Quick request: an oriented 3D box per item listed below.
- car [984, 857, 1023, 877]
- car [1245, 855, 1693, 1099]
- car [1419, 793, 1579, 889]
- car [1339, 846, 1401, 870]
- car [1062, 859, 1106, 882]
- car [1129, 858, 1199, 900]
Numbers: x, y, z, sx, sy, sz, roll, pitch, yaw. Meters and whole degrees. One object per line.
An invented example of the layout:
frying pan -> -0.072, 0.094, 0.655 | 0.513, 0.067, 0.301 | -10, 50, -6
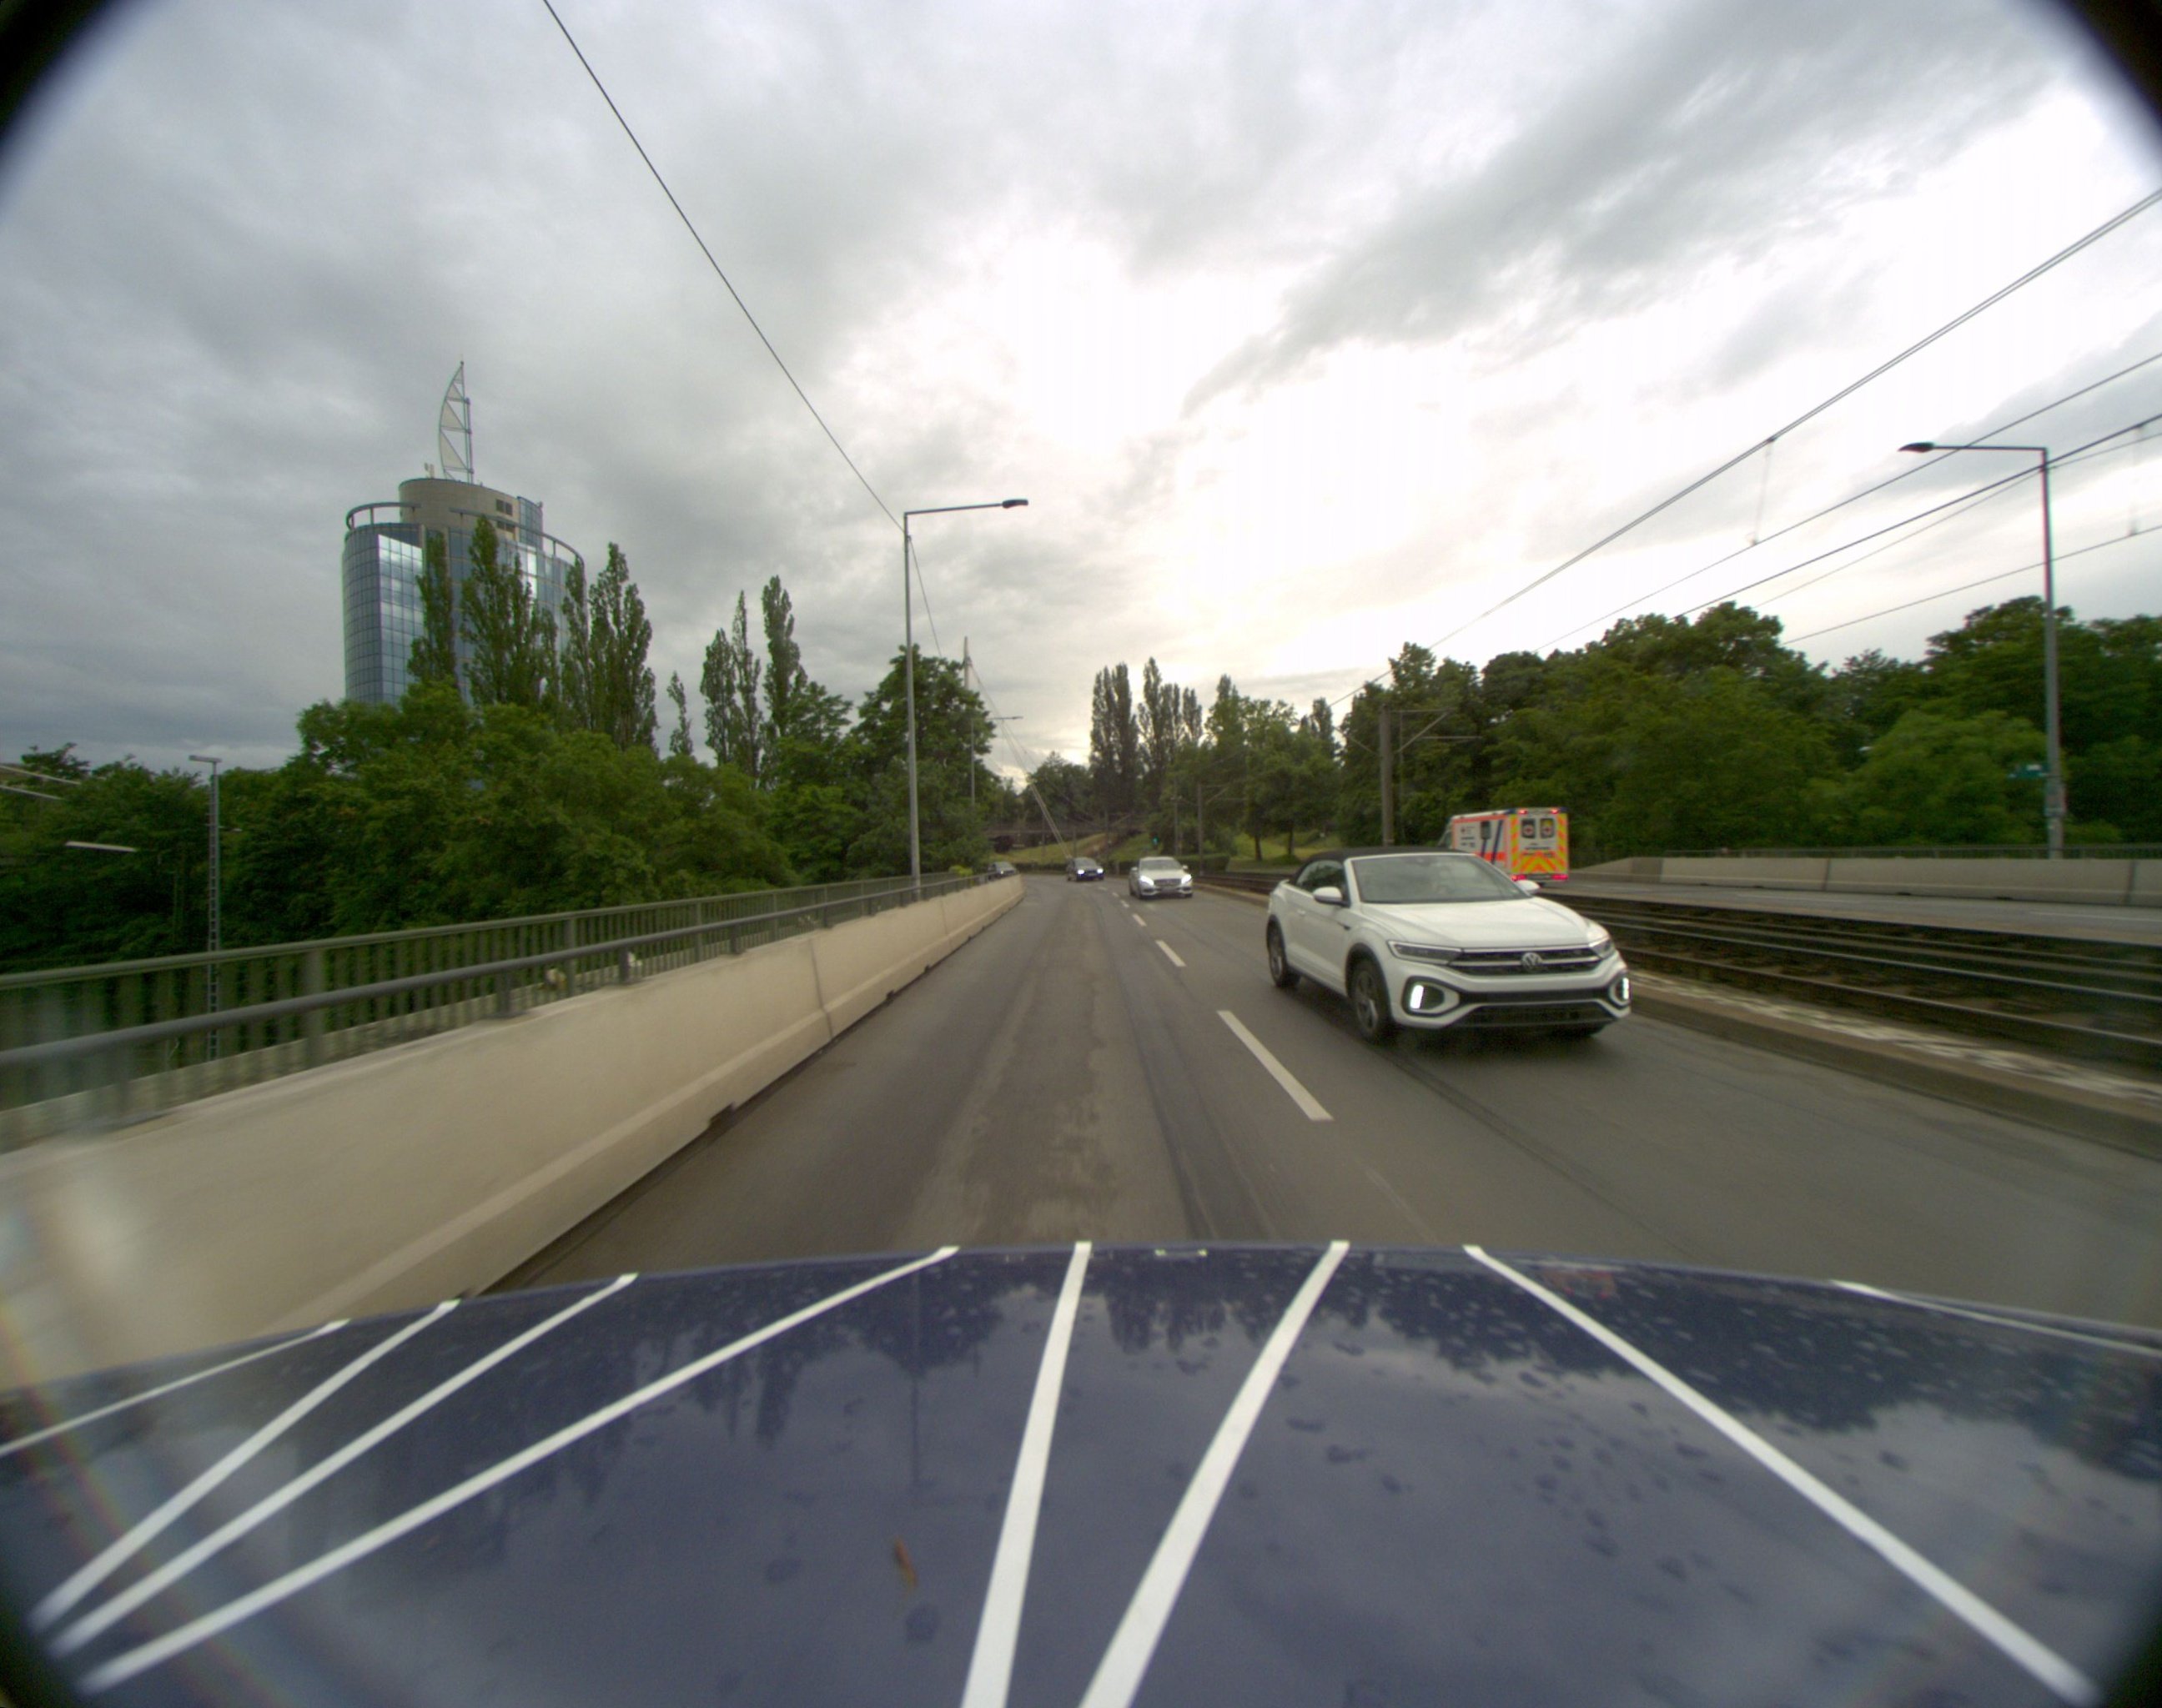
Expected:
car -> -6.212, 1.042, 60.616 | 1.771, 1.492, 3.992 | -2, 0, -26
car -> 3.031, 0.809, 7.231 | 1.876, 1.515, 4.539 | -2, 0, 0
car -> 15.238, -0.444, 28.296 | 2.395, 3.097, 6.356 | -2, 0, 0
car -> 18.063, 0.259, 47.721 | 1.842, 1.306, 4.618 | -4, -1, -4
car -> 0.159, 0.990, 48.137 | 1.738, 1.344, 3.994 | -2, 0, -16
car -> 2.850, 0.833, 26.955 | 1.872, 1.348, 4.059 | -1, 0, -2
